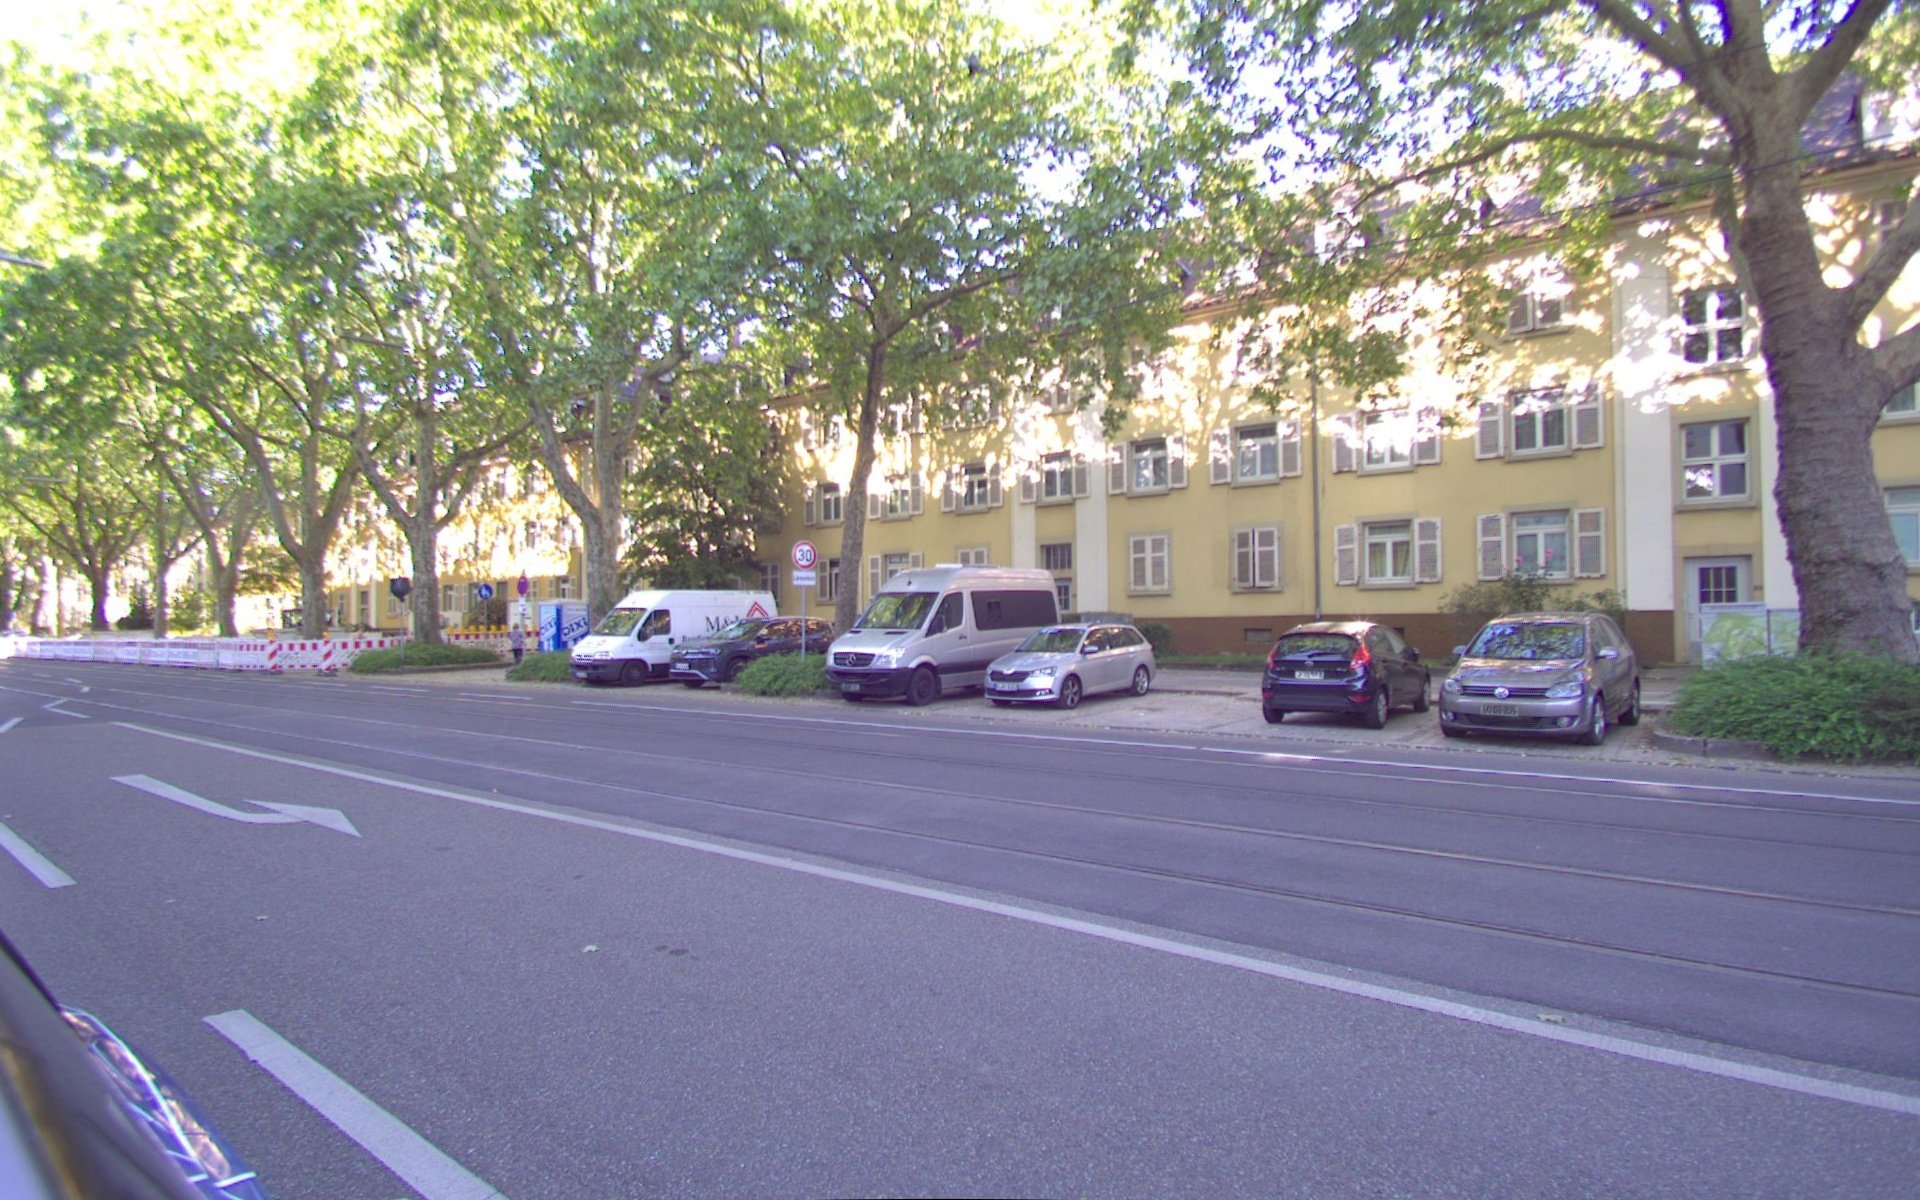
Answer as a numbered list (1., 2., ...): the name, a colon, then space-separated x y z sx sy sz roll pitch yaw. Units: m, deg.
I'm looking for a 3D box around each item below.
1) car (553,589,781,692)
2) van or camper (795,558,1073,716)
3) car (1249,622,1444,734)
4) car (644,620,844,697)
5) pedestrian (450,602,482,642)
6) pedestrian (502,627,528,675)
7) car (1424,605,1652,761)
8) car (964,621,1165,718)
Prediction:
1. car: -7.427 1.009 26.260 2.023 2.394 5.543 -2 -2 38
2. van or camper: -0.300 0.658 20.463 2.227 2.697 6.052 -2 -1 38
3. car: 5.922 1.079 15.299 1.740 1.440 3.528 -2 -1 39
4. car: -5.073 1.330 24.340 1.967 1.643 4.520 -2 -2 38
5. pedestrian: -25.823 1.160 52.904 1.233 2.029 1.085 -2 -2 36
6. pedestrian: -14.900 1.697 33.874 0.588 1.585 0.718 0 -2 -3
7. car: 7.752 0.953 13.386 1.814 1.617 4.145 -2 0 41
8. car: 2.053 1.199 18.877 1.729 1.481 4.102 0 0 40
